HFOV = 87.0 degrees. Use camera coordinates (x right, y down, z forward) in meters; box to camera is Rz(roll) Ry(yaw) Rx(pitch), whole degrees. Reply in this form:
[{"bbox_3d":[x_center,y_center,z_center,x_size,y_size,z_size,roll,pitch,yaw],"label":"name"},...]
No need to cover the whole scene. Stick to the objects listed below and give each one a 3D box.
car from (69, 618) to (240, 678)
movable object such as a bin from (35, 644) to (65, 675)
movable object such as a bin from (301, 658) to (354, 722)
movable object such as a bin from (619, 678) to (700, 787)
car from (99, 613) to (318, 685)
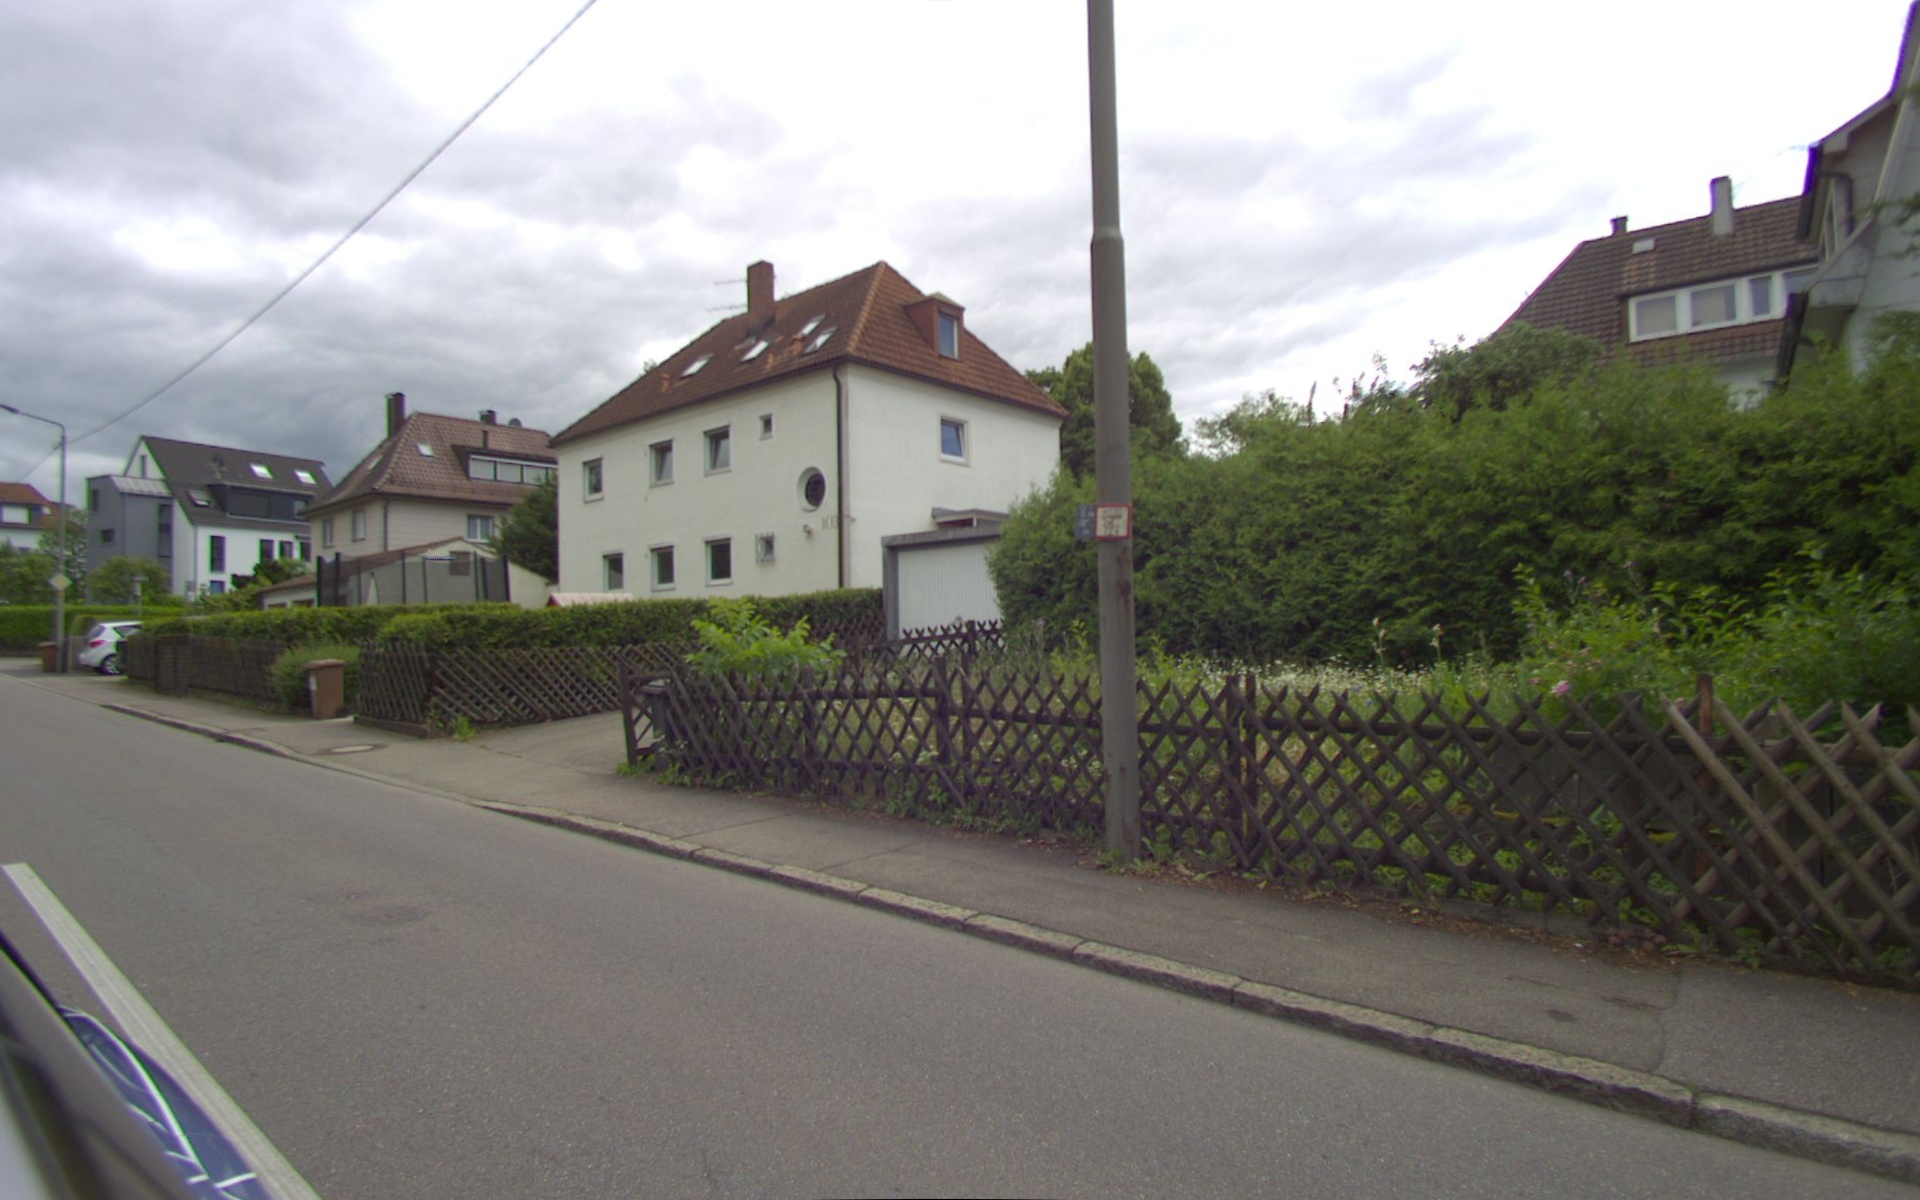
[{"bbox_3d":[-25.270,1.451,31.838,1.717,1.606,3.946,-1,1,41],"label":"car"},{"bbox_3d":[-29.000,1.891,32.263,0.679,0.961,0.573,1,-2,-39],"label":"movable object such as a bin"},{"bbox_3d":[-9.921,1.400,15.879,0.625,0.920,0.561,-1,-1,-39],"label":"movable object such as a bin"},{"bbox_3d":[-2.846,1.235,9.583,0.537,0.945,0.544,-2,-2,43],"label":"movable object such as a bin"},{"bbox_3d":[-21.019,1.309,28.489,1.881,1.682,4.624,-1,1,39],"label":"car"}]
